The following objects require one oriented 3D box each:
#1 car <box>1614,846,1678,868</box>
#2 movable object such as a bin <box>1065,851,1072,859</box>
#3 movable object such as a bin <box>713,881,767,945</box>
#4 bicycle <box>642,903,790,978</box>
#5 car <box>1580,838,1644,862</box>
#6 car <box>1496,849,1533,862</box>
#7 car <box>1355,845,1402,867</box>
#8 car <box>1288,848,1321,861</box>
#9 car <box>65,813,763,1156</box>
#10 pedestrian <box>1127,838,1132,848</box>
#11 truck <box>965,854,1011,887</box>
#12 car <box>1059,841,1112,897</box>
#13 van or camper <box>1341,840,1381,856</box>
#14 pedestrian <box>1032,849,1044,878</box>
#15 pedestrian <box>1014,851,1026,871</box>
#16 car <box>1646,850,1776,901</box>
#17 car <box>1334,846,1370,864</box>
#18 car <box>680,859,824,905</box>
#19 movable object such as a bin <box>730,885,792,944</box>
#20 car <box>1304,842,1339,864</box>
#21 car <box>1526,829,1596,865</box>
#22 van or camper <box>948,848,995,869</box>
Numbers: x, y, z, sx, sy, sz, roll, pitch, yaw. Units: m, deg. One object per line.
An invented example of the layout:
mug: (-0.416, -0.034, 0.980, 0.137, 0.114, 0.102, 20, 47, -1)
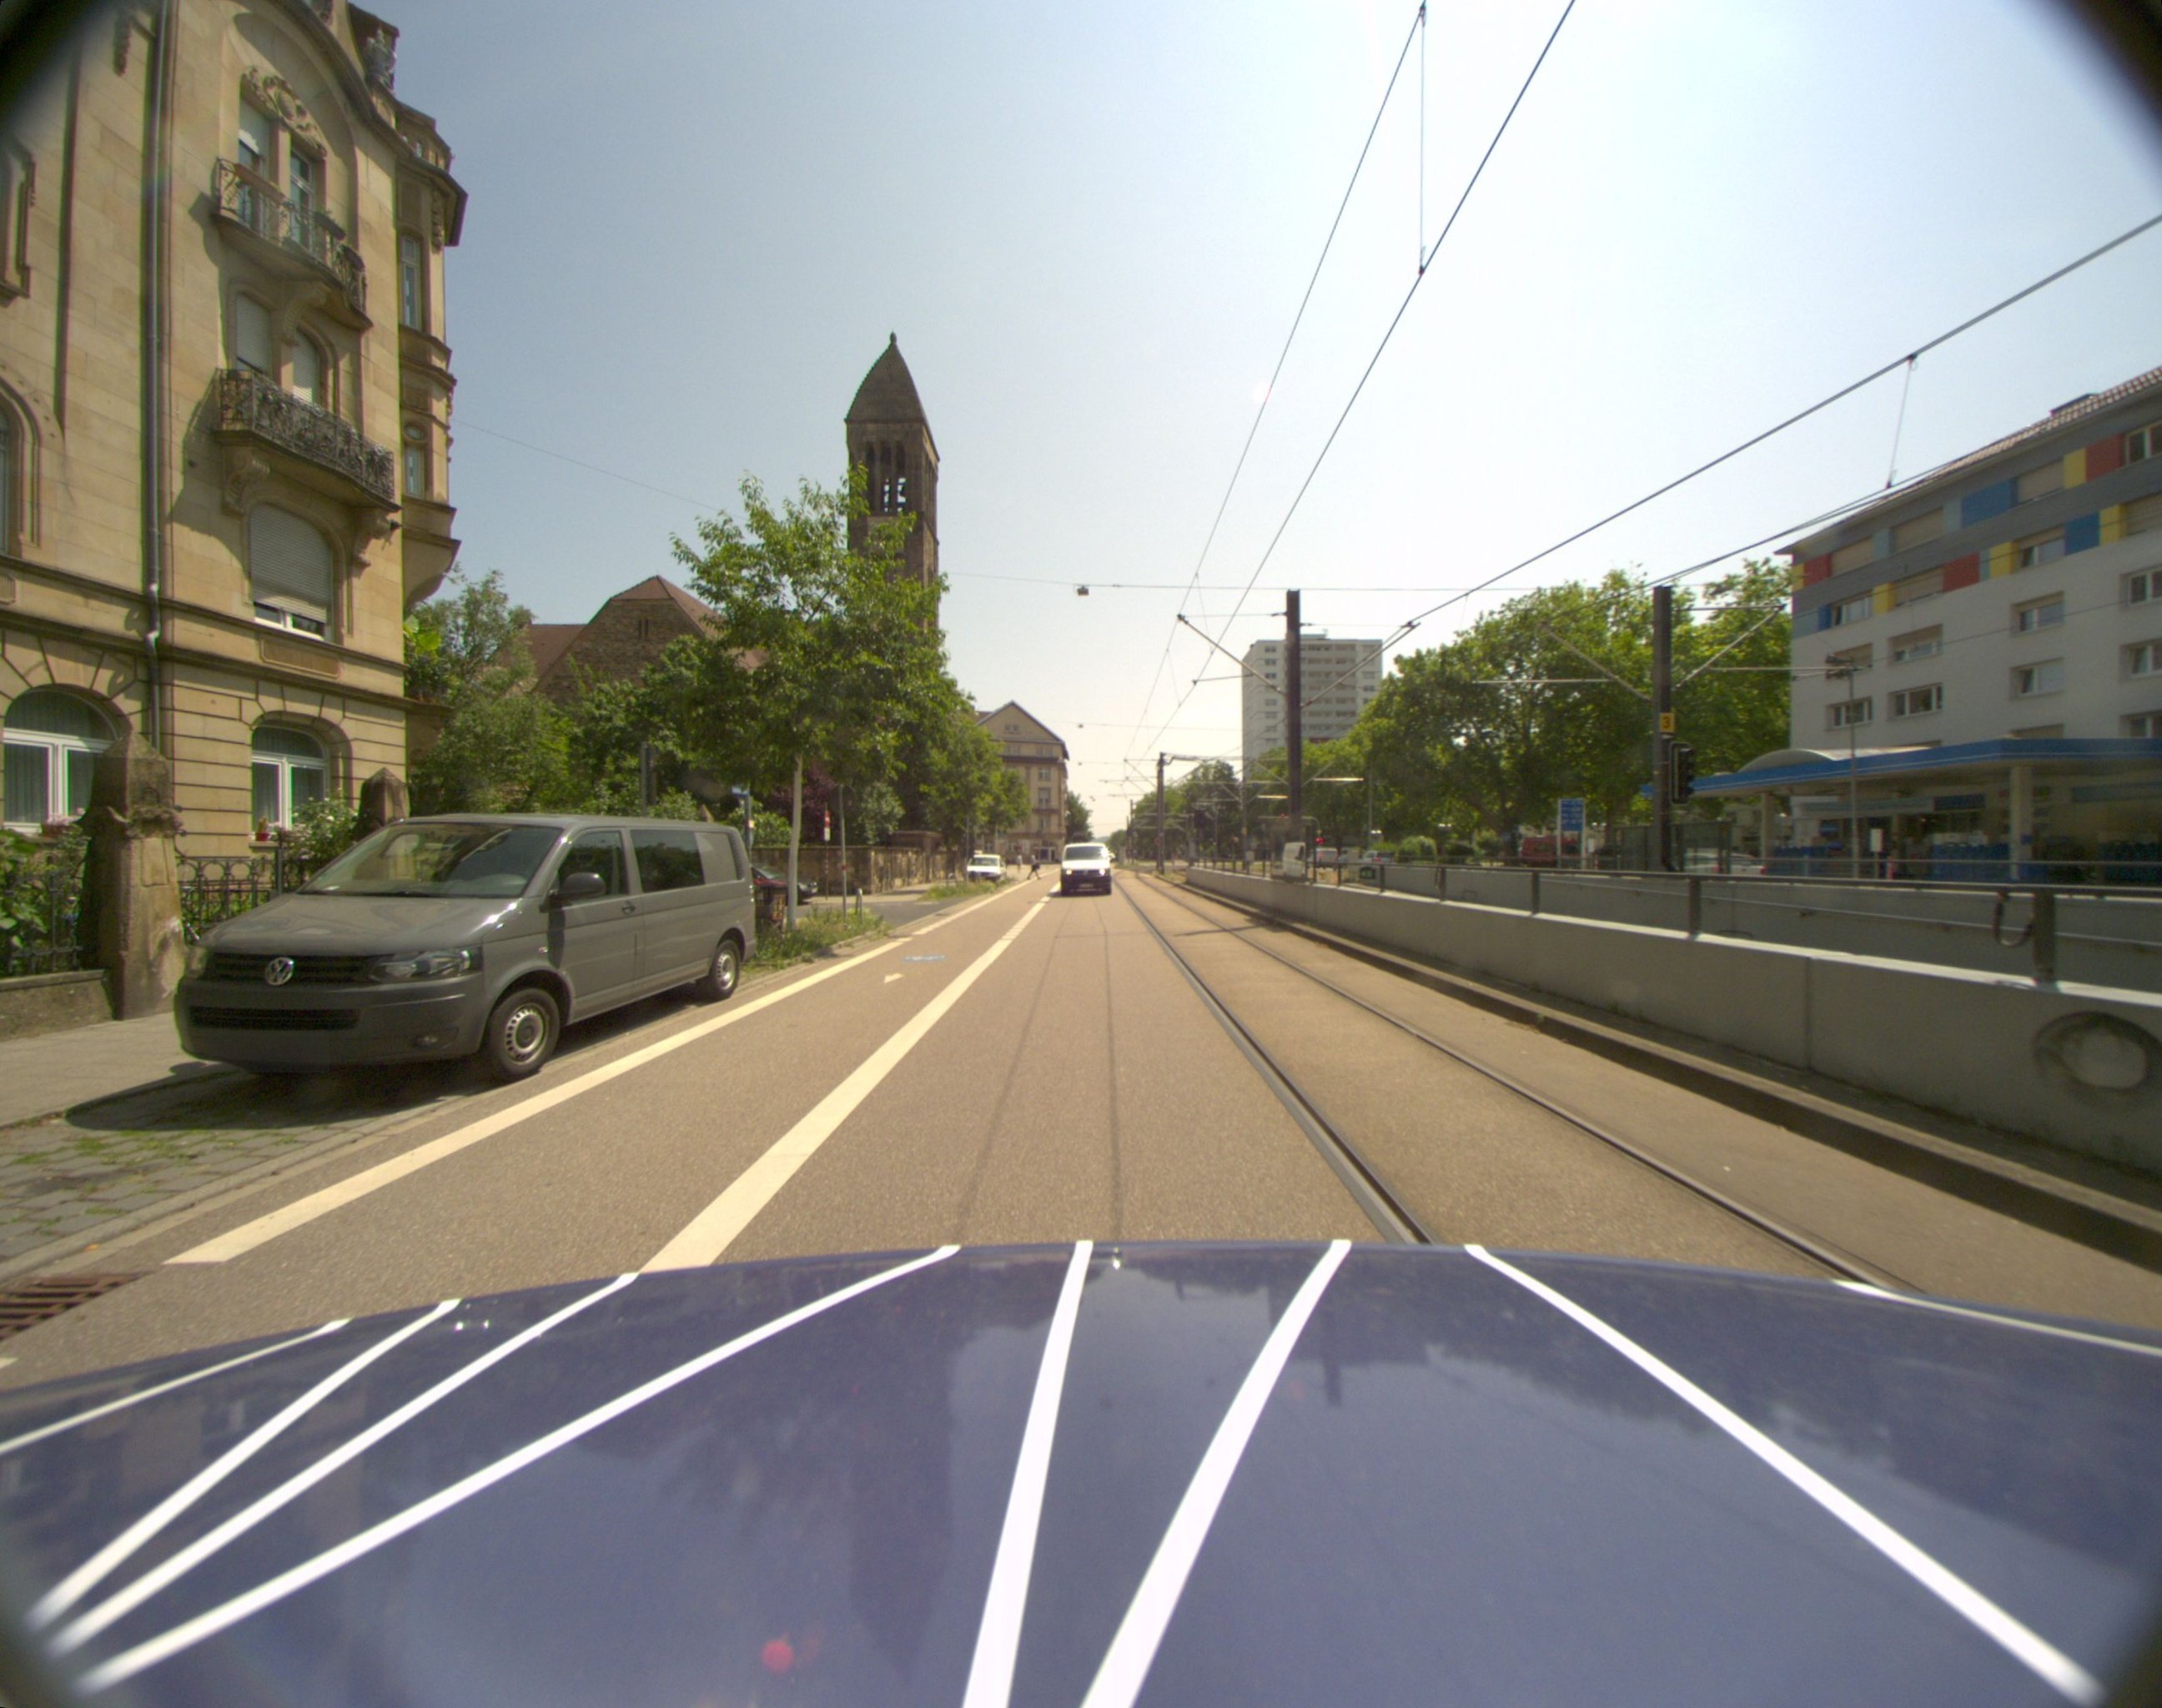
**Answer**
car: (41.934, 0.206, 56.498, 1.867, 1.517, 4.000, -1, 0, 1)
movable object such as a bin: (-2.233, 0.165, 140.386, 1.214, 1.428, 1.008, -1, 1, -3)
movable object such as a bin: (-5.879, 1.009, 13.107, 0.670, 1.056, 0.496, -1, 1, 7)
bicycle: (-5.322, 1.252, 11.152, 1.887, 0.986, 0.470, -1, 1, -9)
car: (39.099, -0.299, 56.049, 1.998, 1.710, 4.000, -1, 1, 1)
car: (49.565, 0.127, 86.843, 3.342, 1.376, 1.472, -1, 1, 0)
car: (22.358, 0.139, 57.360, 1.851, 1.616, 4.602, 1, 1, 2)
car: (22.766, 0.048, 77.539, 1.952, 1.351, 4.628, 0, 0, 0)
car: (-4.816, 0.736, 6.750, 1.883, 1.936, 4.836, 1, 0, 1)
pedestrian: (8.206, -1.795, 128.517, 0.679, 1.695, 0.554, -1, 1, 3)
truck: (-4.563, 0.779, 37.856, 1.794, 1.517, 4.464, -1, 0, -1)
car: (0.261, 0.512, 29.348, 1.852, 1.942, 4.943, -1, 0, 2)
van or camper: (43.624, -0.901, 118.333, 5.907, 2.447, 2.070, -1, 1, -20)
pedestrian: (-2.652, 0.597, 46.752, 0.622, 1.744, 0.678, -1, 1, 3)
pedestrian: (-5.103, 0.601, 63.554, 0.795, 1.641, 0.967, -1, 1, 3)
car: (20.855, 0.657, 25.368, 1.547, 1.552, 3.881, -1, 0, 8)
car: (22.716, 0.079, 63.797, 1.600, 1.412, 3.781, 1, 0, 1)
car: (-11.209, 0.936, 26.093, 4.192, 1.483, 1.673, 0, 1, -1)
movable object such as a bin: (-5.795, 1.087, 13.802, 0.789, 1.008, 0.650, -1, 1, 7)
car: (22.578, -0.089, 71.546, 1.781, 1.979, 4.804, 0, 0, 0)
car: (34.649, -0.537, 54.993, 1.851, 2.379, 4.980, -3, 2, 0)
van or camper: (-10.078, 0.420, 70.098, 3.997, 1.814, 1.803, 1, -2, 0)
